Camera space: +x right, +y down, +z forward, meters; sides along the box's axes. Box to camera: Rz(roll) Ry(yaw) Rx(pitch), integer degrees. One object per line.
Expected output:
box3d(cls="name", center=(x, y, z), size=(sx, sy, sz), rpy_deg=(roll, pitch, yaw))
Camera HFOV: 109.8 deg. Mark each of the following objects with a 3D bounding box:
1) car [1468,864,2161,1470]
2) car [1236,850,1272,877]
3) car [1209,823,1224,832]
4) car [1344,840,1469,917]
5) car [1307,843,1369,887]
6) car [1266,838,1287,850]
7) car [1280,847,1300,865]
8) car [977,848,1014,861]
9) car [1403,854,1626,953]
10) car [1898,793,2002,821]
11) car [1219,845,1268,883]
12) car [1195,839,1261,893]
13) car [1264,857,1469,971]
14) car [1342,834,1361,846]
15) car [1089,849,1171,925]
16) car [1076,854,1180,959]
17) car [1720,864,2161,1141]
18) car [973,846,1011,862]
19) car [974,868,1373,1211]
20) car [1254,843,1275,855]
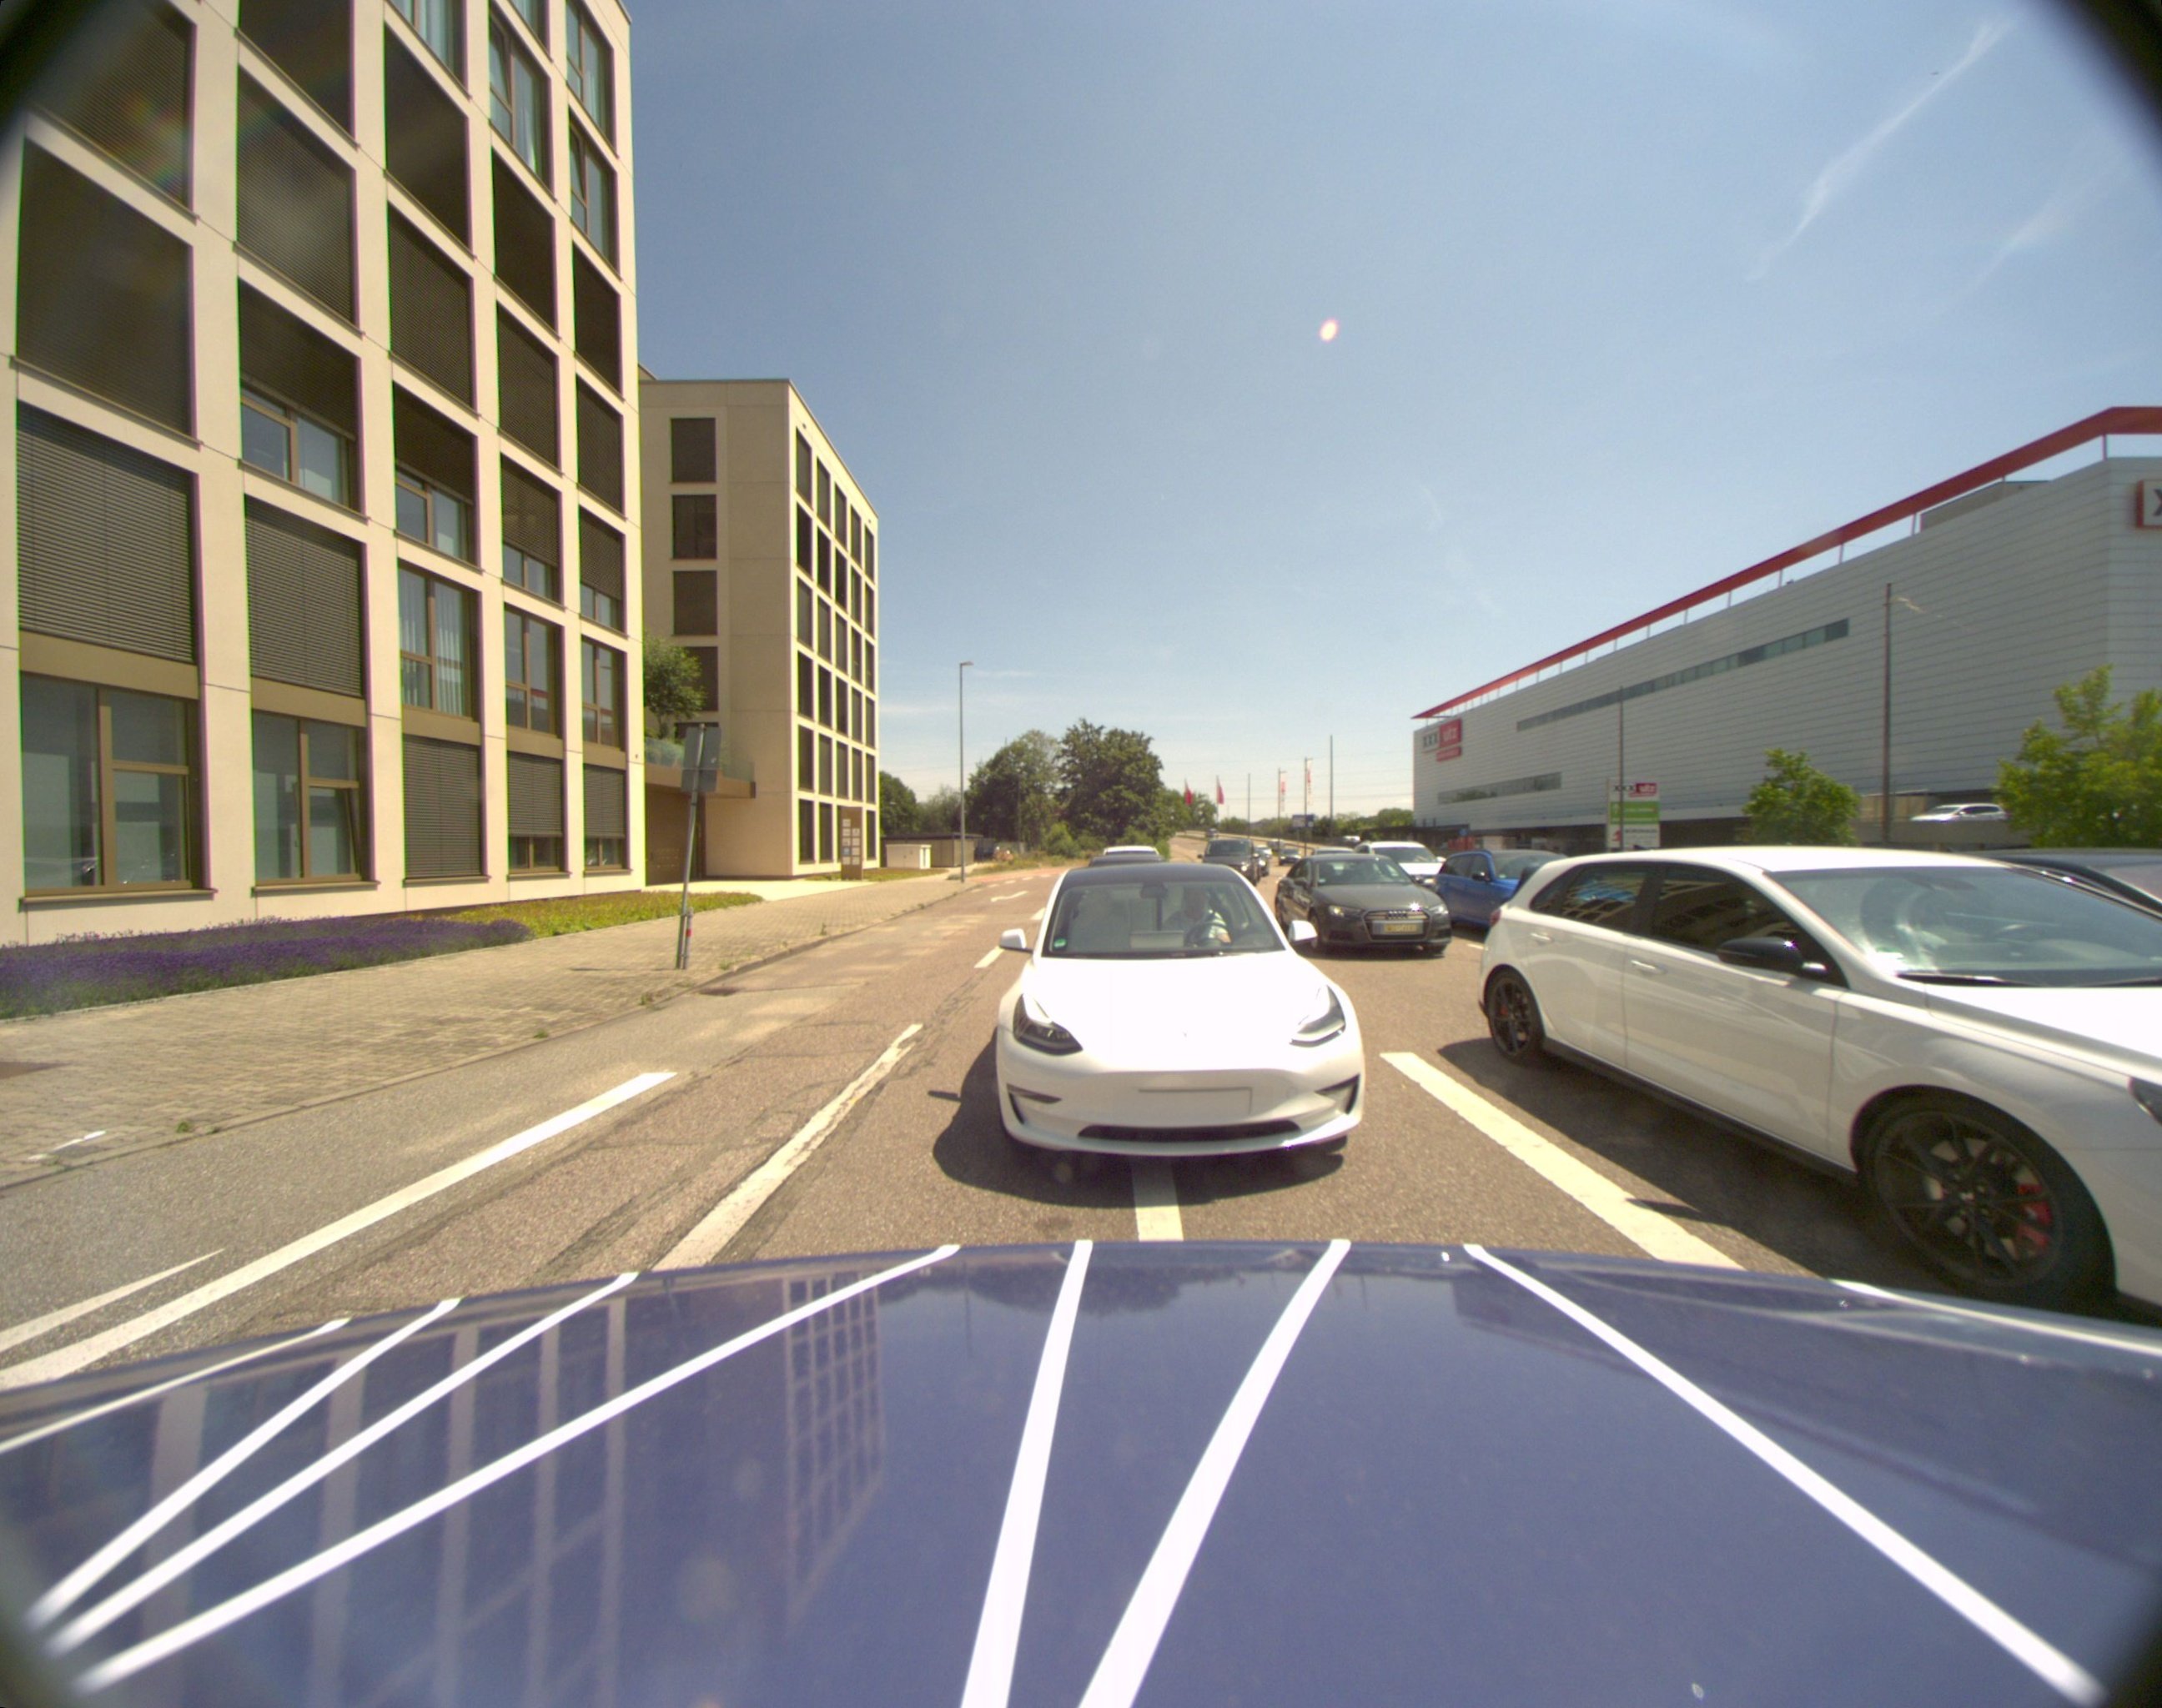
box3d(cls="car", center=(3.676, 0.830, 3.437), size=(1.792, 1.428, 4.070), rpy_deg=(-2, 1, 1))
box3d(cls="car", center=(9.933, 0.494, 43.433), size=(1.606, 1.431, 3.738), rpy_deg=(0, 1, 19))
box3d(cls="car", center=(26.420, -5.150, 148.045), size=(1.868, 1.713, 4.040), rpy_deg=(0, 0, -7))
box3d(cls="car", center=(7.906, 0.521, 18.907), size=(1.768, 1.632, 4.494), rpy_deg=(-2, 1, 9))
box3d(cls="car", center=(9.130, 0.366, 27.253), size=(1.767, 1.414, 3.903), rpy_deg=(-2, 0, 14))
box3d(cls="car", center=(28.037, -1.465, 109.087), size=(1.867, 1.713, 4.041), rpy_deg=(0, 1, -2))
box3d(cls="car", center=(19.325, 0.155, 70.216), size=(1.724, 1.543, 4.005), rpy_deg=(0, 1, 16))
box3d(cls="car", center=(-9.137, 0.034, 81.197), size=(3.834, 1.386, 1.736), rpy_deg=(0, 1, -13))
box3d(cls="car", center=(7.289, 0.731, 13.363), size=(1.768, 1.395, 4.433), rpy_deg=(-2, 0, 7))
box3d(cls="car", center=(51.608, -2.770, 45.189), size=(3.995, 1.499, 1.718), rpy_deg=(0, 1, 4))
box3d(cls="car", center=(7.565, 0.426, 35.190), size=(1.811, 1.630, 4.005), rpy_deg=(0, 1, 18))
box3d(cls="car", center=(5.548, 0.371, 28.150), size=(1.893, 1.811, 4.842), rpy_deg=(0, 1, 17))
box3d(cls="car", center=(4.115, 0.768, 11.683), size=(1.769, 1.374, 4.090), rpy_deg=(-1, 1, 3))
box3d(cls="car", center=(52.028, -2.667, 146.382), size=(2.191, 2.270, 4.814), rpy_deg=(0, 1, 4))
box3d(cls="car", center=(1.229, 0.715, 18.544), size=(1.777, 1.600, 3.821), rpy_deg=(0, 1, 5))
box3d(cls="car", center=(0.857, 0.793, 13.351), size=(1.556, 1.528, 3.822), rpy_deg=(0, 1, 5))
box3d(cls="car", center=(6.561, 0.803, 4.617), size=(1.675, 1.396, 4.467), rpy_deg=(-2, 0, 2))
box3d(cls="car", center=(-9.290, -0.011, 79.167), size=(3.834, 1.543, 1.736), rpy_deg=(0, 1, -13))
box3d(cls="car", center=(0.466, 0.917, 5.709), size=(1.823, 1.428, 4.284), rpy_deg=(-2, 1, 1))
box3d(cls="car", center=(22.279, -0.619, 92.352), size=(1.725, 1.463, 4.001), rpy_deg=(0, 1, 4))
